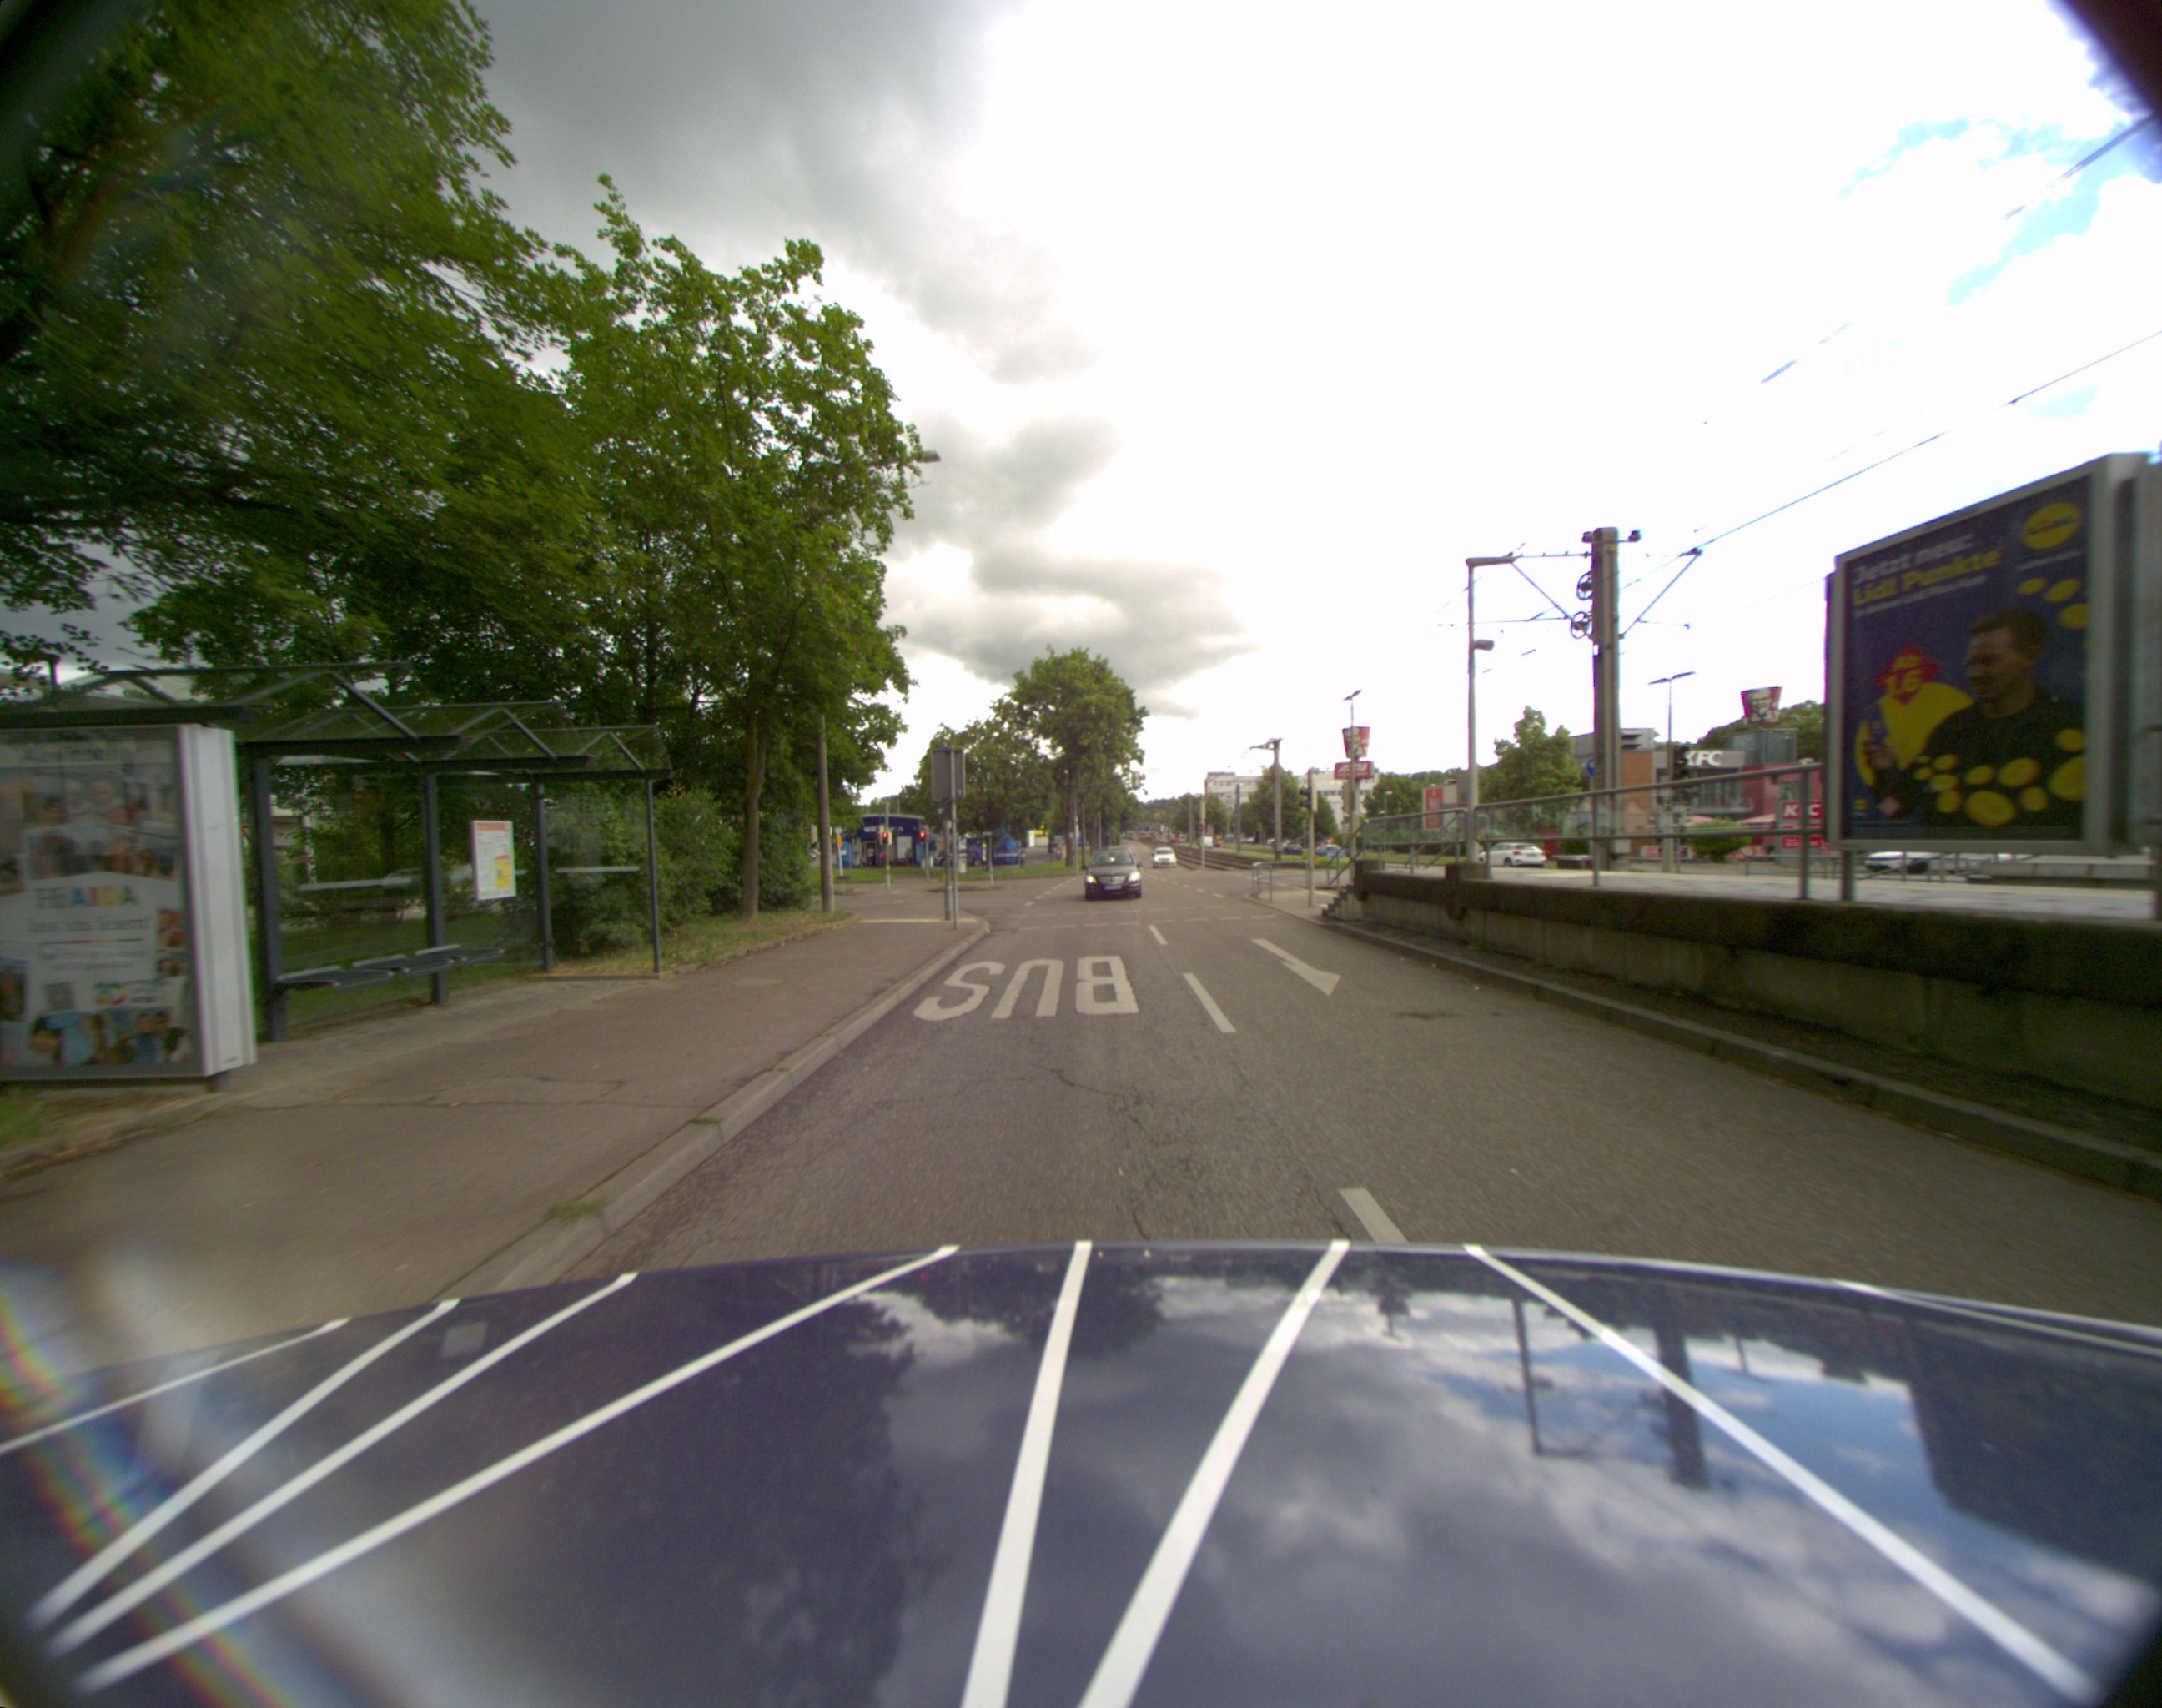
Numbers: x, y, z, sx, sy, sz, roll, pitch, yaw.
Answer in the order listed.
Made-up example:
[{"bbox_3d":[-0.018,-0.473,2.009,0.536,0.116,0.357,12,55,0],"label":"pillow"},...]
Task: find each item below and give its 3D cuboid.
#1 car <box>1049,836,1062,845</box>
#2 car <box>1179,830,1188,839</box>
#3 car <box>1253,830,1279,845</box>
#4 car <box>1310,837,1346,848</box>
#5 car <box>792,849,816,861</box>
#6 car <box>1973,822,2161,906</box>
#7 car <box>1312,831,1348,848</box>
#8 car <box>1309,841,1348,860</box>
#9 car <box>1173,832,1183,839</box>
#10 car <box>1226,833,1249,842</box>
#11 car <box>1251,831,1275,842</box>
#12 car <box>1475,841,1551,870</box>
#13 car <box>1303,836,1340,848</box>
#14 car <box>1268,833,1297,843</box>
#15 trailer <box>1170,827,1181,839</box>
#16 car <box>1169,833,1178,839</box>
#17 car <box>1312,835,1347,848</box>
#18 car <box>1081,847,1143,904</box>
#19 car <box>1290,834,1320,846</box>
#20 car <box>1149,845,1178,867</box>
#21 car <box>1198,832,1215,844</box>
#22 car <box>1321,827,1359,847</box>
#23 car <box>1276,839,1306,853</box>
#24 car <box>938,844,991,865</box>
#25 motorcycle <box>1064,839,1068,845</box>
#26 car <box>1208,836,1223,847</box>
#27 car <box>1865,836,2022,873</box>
[{"bbox_3d":[-5.112,-2.696,153.317,1.998,1.629,4.326,1,2,4],"label":"car"},{"bbox_3d":[30.722,-5.790,227.911,1.873,2.485,5.999,0,2,2],"label":"car"},{"bbox_3d":[34.676,-3.034,142.388,4.480,2.733,2.288,0,2,3],"label":"car"},{"bbox_3d":[32.226,-1.522,99.285,3.996,1.229,2.000,-4,2,3],"label":"car"},{"bbox_3d":[-36.232,0.098,99.479,2.000,1.456,3.996,-4,2,-8],"label":"car"},{"bbox_3d":[23.242,0.170,16.848,1.714,1.741,4.398,0,2,1],"label":"car"},{"bbox_3d":[31.854,-1.870,97.224,3.996,1.907,2.000,-4,2,3],"label":"car"},{"bbox_3d":[19.690,-0.306,60.552,1.599,1.438,4.051,0,1,-3],"label":"car"},{"bbox_3d":[26.126,-4.982,204.790,1.999,2.002,3.998,0,2,-1],"label":"car"},{"bbox_3d":[32.936,-3.458,160.101,4.610,1.484,2.000,-3,2,7],"label":"car"},{"bbox_3d":[36.341,-3.417,151.825,4.354,1.908,2.000,-3,2,7],"label":"car"},{"bbox_3d":[23.264,0.052,41.085,1.690,1.438,3.998,1,1,-2],"label":"car"},{"bbox_3d":[32.862,-1.692,104.043,4.383,1.346,2.195,-4,2,3],"label":"car"},{"bbox_3d":[35.361,-2.746,133.375,4.481,1.498,1.795,-4,2,0],"label":"car"},{"bbox_3d":[32.401,-7.327,261.546,2.677,3.875,14.425,1,2,3],"label":"trailer"},{"bbox_3d":[26.344,-5.133,216.253,1.788,1.573,4.480,0,2,-2],"label":"car"},{"bbox_3d":[33.131,-1.688,101.321,3.996,1.360,2.093,-4,2,3],"label":"car"},{"bbox_3d":[1.043,0.633,24.794,1.786,1.614,4.000,-3,1,3],"label":"car"},{"bbox_3d":[34.217,-2.143,115.942,3.996,1.498,1.937,-4,2,3],"label":"car"},{"bbox_3d":[6.194,0.122,57.314,1.786,1.436,3.999,-4,2,1],"label":"car"},{"bbox_3d":[21.471,-2.742,130.278,1.999,2.002,4.883,-1,1,-2],"label":"car"},{"bbox_3d":[31.836,-2.126,93.526,3.996,2.153,2.058,-4,2,3],"label":"car"},{"bbox_3d":[22.947,-0.841,83.103,1.999,1.473,4.506,1,0,-1],"label":"car"},{"bbox_3d":[-10.001,0.013,65.205,4.215,1.687,1.837,-1,1,-16],"label":"car"},{"bbox_3d":[-2.912,-2.297,147.717,0.704,1.180,2.387,-1,2,-3],"label":"motorcycle"},{"bbox_3d":[25.503,-2.435,143.974,1.999,2.002,4.105,-1,2,-1],"label":"car"},{"bbox_3d":[35.081,0.007,31.026,3.884,1.400,1.848,-1,2,12],"label":"car"}]
